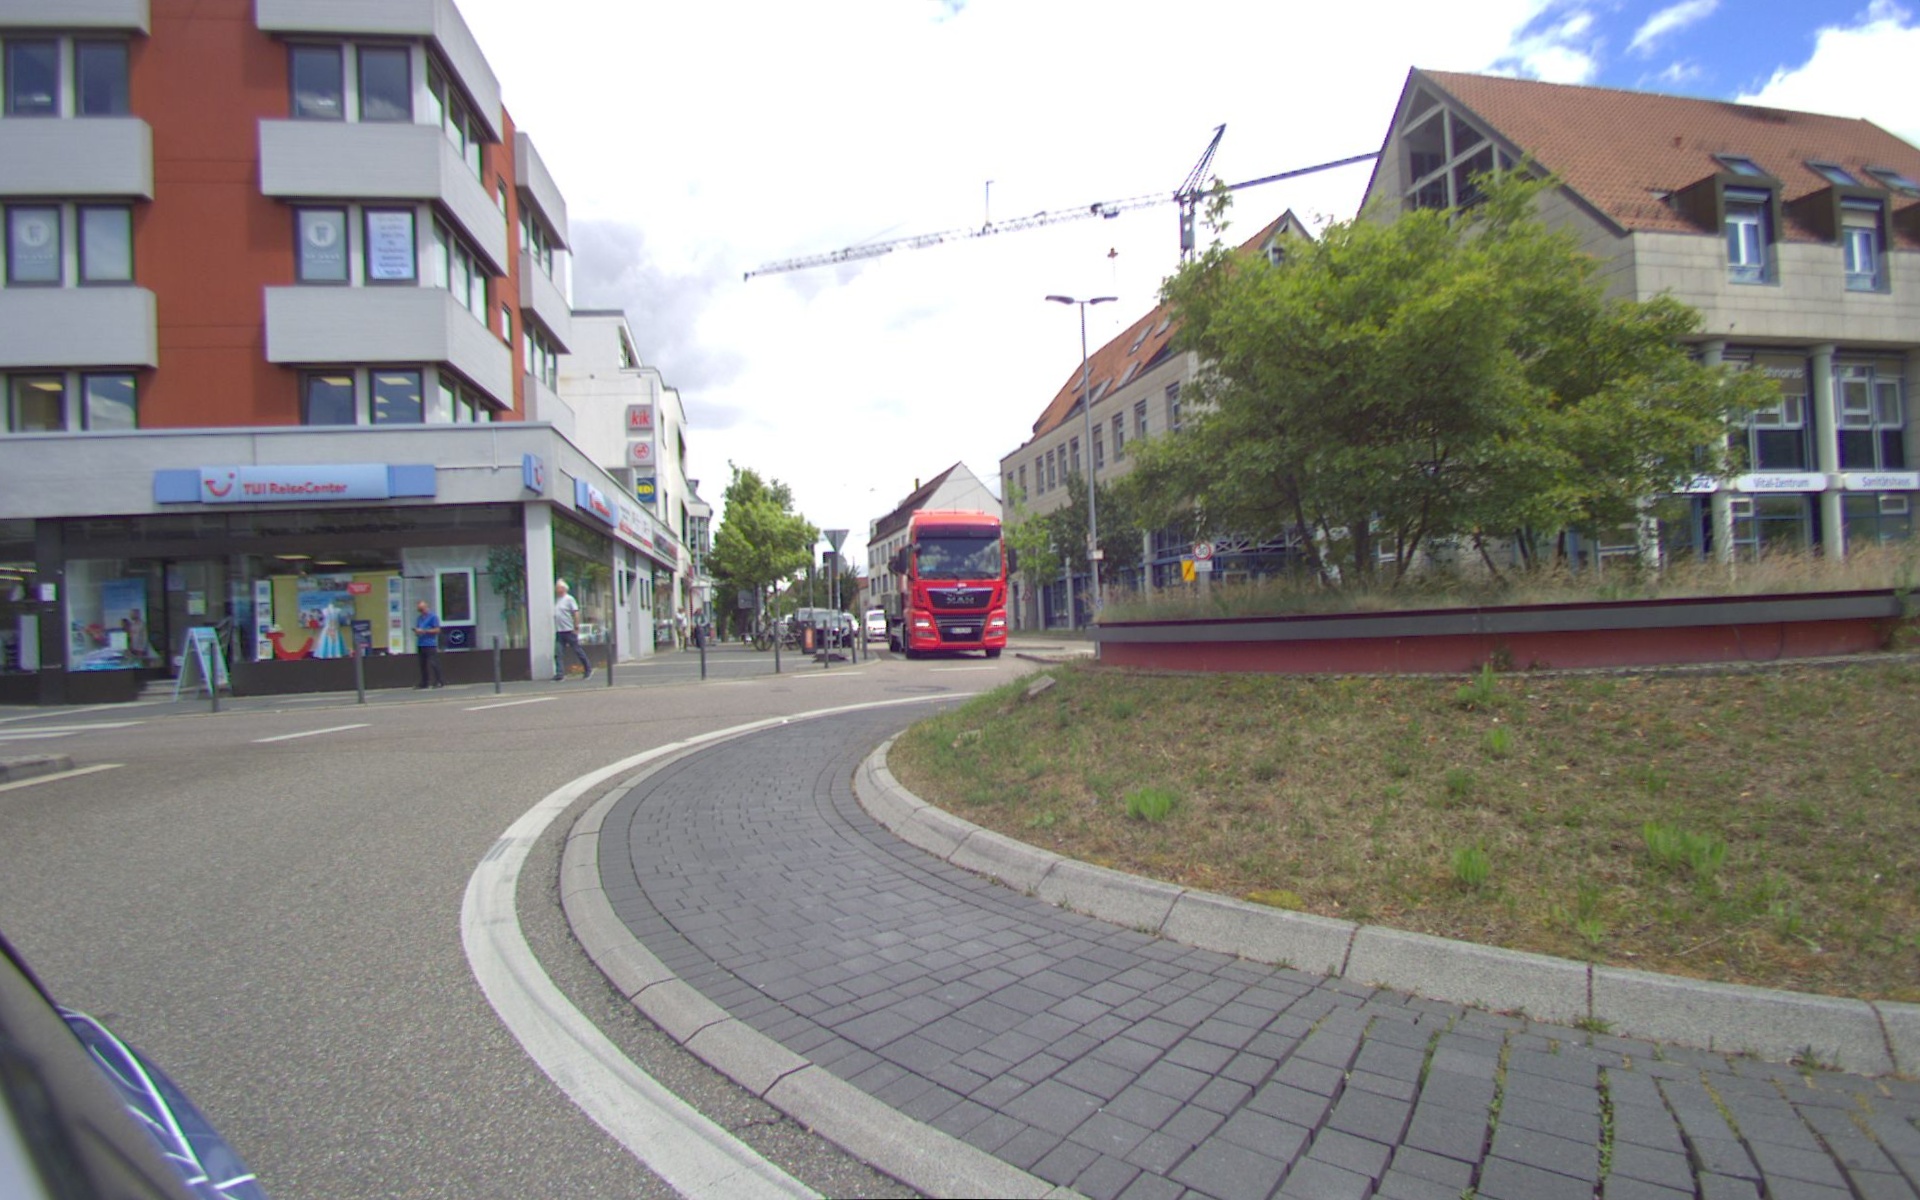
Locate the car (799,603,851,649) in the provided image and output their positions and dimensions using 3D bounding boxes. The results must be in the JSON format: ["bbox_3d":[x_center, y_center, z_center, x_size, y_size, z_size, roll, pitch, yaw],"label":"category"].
[{"bbox_3d":[-5.092,0.963,38.155,1.834,1.593,4.383,-1,-1,-8],"label":"car"}]

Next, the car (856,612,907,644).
[{"bbox_3d":[-3.660,1.280,46.818,1.654,1.342,3.867,-2,-1,-15],"label":"car"}]

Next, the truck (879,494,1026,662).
[{"bbox_3d":[-0.603,-0.477,29.868,2.920,4.058,10.613,-1,-1,-8],"label":"truck"}]

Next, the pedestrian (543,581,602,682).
[{"bbox_3d":[-7.431,0.601,19.444,0.797,1.889,0.679,-2,-1,8],"label":"pedestrian"}]

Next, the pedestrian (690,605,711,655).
[{"bbox_3d":[-9.391,1.081,36.643,0.505,1.769,0.536,-2,-1,10],"label":"pedestrian"}]

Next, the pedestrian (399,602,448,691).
[{"bbox_3d":[-9.986,0.861,18.843,0.568,1.616,0.598,-3,-1,40],"label":"pedestrian"}]

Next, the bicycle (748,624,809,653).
[{"bbox_3d":[-6.220,1.323,34.640,2.032,0.953,0.523,0,-1,-13],"label":"bicycle"}]

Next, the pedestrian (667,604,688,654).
[{"bbox_3d":[-10.124,1.044,36.314,0.670,1.769,0.512,-2,-1,-14],"label":"pedestrian"}]

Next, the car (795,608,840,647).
[{"bbox_3d":[-6.173,1.158,43.950,1.834,1.593,4.383,-1,-1,-8],"label":"car"}]

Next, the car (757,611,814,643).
[{"bbox_3d":[-8.942,1.359,51.617,1.831,1.578,4.390,0,-1,-24],"label":"car"}]
